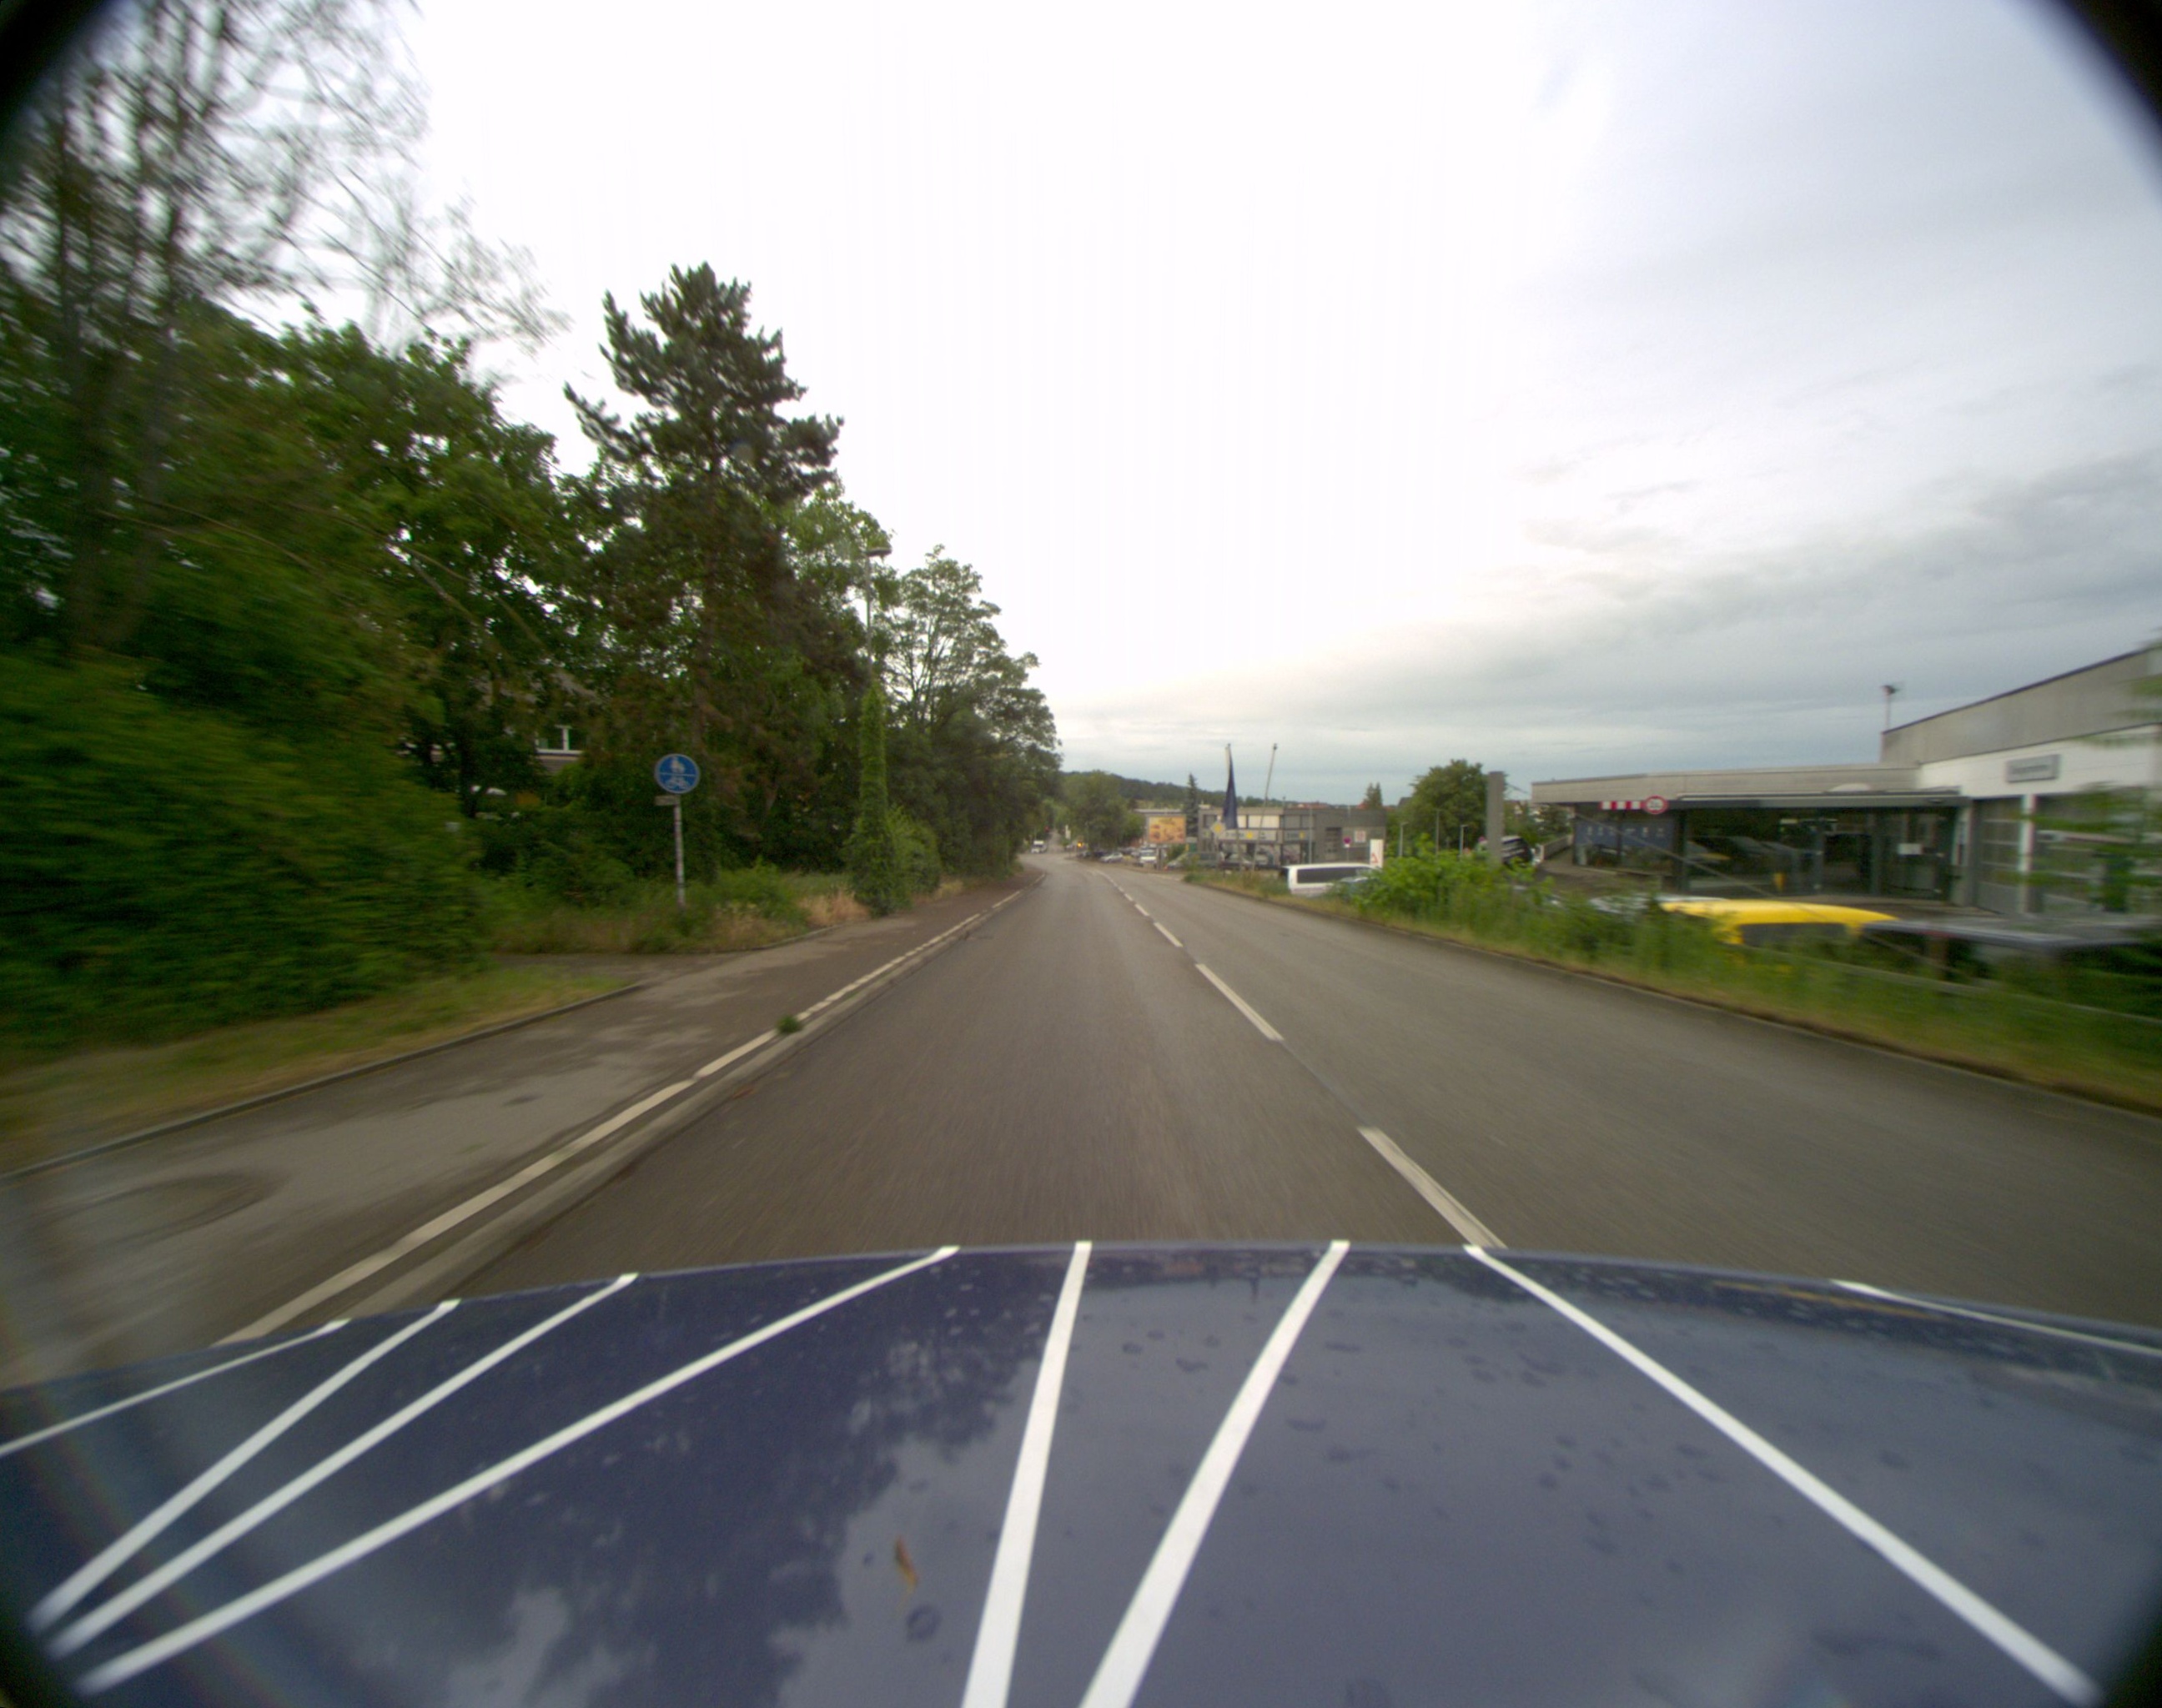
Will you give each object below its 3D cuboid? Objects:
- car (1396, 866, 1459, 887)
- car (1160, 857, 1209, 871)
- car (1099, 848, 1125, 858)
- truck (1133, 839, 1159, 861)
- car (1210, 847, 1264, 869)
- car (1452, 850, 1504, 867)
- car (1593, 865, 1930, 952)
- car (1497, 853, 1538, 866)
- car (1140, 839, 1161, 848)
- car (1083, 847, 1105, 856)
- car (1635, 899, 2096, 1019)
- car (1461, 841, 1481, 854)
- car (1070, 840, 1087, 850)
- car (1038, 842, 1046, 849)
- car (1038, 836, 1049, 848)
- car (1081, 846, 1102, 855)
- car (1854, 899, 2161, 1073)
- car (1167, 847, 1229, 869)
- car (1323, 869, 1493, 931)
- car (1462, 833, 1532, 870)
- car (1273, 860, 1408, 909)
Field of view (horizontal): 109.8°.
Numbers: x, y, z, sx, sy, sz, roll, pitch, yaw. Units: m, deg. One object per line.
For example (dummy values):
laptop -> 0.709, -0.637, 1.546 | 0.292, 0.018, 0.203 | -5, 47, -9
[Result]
car -> 25.094, 1.590, 55.121 | 4.095, 1.419, 1.893 | 0, 1, 25
car -> 9.662, 0.917, 70.944 | 4.107, 1.260, 1.767 | 0, 1, -13
car -> 5.094, -0.155, 125.043 | 4.015, 1.561, 1.716 | -3, 2, -39
truck -> 7.922, -0.519, 93.337 | 1.999, 2.618, 7.888 | 1, 1, -3
car -> 15.427, 0.424, 75.431 | 4.864, 1.976, 2.004 | -2, 0, 45
car -> 34.960, 0.372, 66.952 | 3.980, 1.419, 1.847 | 0, 1, 25
car -> 11.566, 0.883, 13.114 | 4.238, 1.360, 1.874 | 0, 0, -3
car -> 41.639, 0.537, 72.550 | 3.253, 1.172, 1.453 | 0, 1, 25
car -> 16.750, -2.573, 183.558 | 5.266, 2.075, 2.047 | 0, 2, -40
car -> 2.368, -0.470, 138.869 | 3.896, 1.559, 1.671 | 0, 2, -7
car -> 10.167, 1.318, 10.175 | 4.070, 1.283, 1.805 | 0, 0, 6
car -> 47.215, -0.768, 91.987 | 1.401, 1.538, 3.222 | 1, 1, 42
car -> -0.634, -2.244, 180.367 | 1.774, 2.094, 4.369 | -2, 6, -39
car -> -9.284, -2.047, 180.933 | 1.770, 1.460, 3.997 | 0, 2, -5
car -> -9.712, -3.065, 198.119 | 2.575, 2.759, 6.122 | 1, 4, -2
car -> 1.911, -0.630, 141.661 | 3.768, 1.559, 1.671 | 0, 2, -4
car -> 9.773, 1.059, 6.765 | 4.074, 1.204, 1.804 | 0, 0, -3
car -> 10.371, 0.350, 67.404 | 5.084, 1.860, 1.821 | 0, 1, -9
car -> 10.061, 1.376, 23.629 | 4.425, 1.787, 2.001 | 0, 0, -3
car -> 21.397, -0.172, 39.228 | 1.402, 1.790, 4.251 | 1, 1, 2
car -> 9.731, 1.125, 28.743 | 4.424, 1.787, 1.934 | 0, 0, -1
